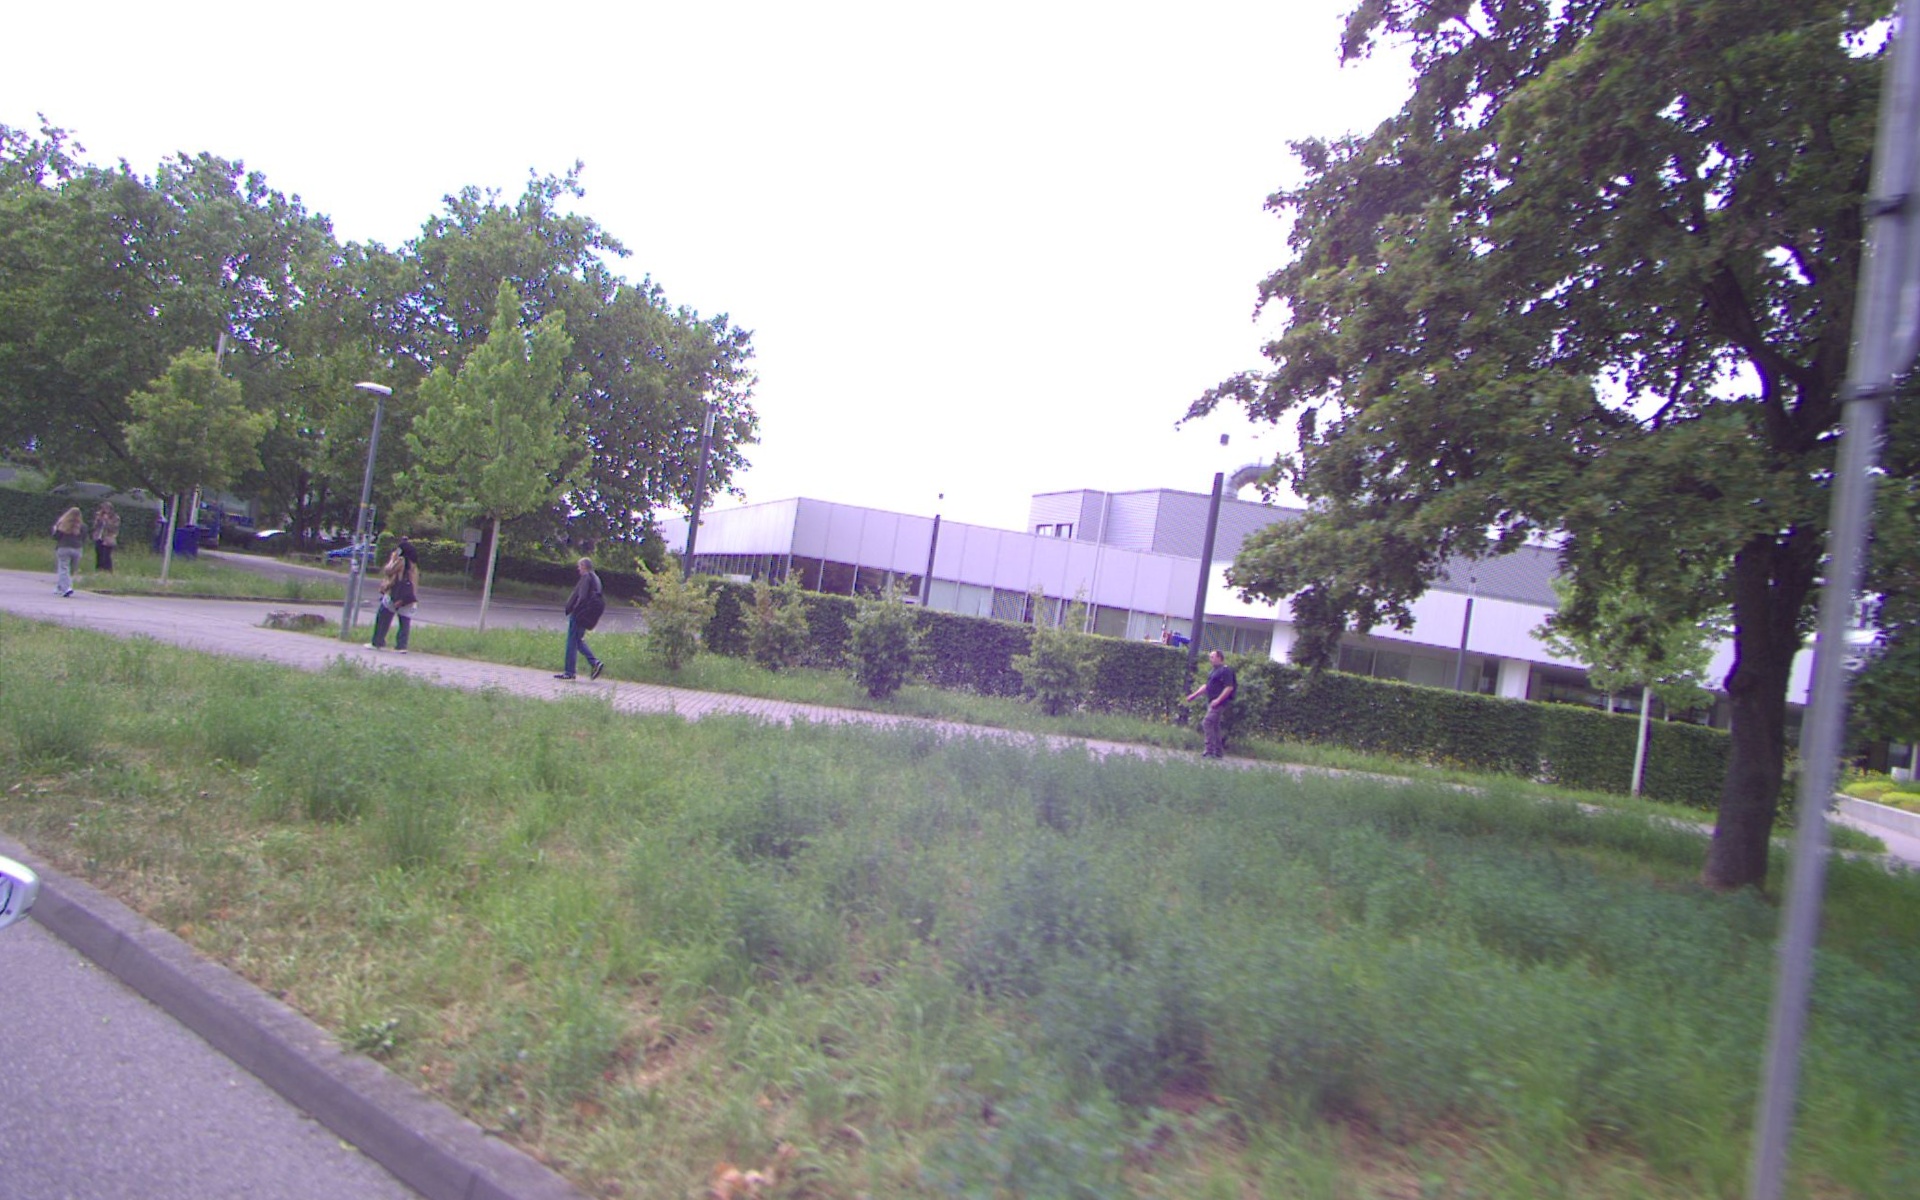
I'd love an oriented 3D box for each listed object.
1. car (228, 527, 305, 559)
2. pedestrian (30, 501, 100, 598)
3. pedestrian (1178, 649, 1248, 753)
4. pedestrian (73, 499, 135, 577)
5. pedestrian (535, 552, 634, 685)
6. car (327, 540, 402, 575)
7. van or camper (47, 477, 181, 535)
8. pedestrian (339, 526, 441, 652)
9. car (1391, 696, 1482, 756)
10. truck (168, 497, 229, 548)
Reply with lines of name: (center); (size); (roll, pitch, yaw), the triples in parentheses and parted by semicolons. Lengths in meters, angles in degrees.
car: (-48.030, -3.949, 69.763); (1.742, 1.518, 3.929); (9, 0, 31)
pedestrian: (-16.391, -0.932, 18.444); (0.772, 1.615, 0.813); (8, 1, -41)
pedestrian: (3.918, 1.551, 15.644); (0.685, 1.468, 0.835); (9, 0, 2)
pedestrian: (-20.312, -1.472, 23.895); (0.768, 1.714, 0.817); (9, 0, -28)
pedestrian: (-5.349, 0.268, 14.348); (0.810, 1.743, 0.775); (9, 0, 36)
car: (-38.076, -2.725, 64.381); (3.901, 1.518, 1.755); (9, 0, -35)
van or camper: (-41.808, -4.623, 49.888); (4.639, 1.937, 1.758); (9, 0, -29)
pedestrian: (-8.578, -0.144, 15.160); (0.807, 1.743, 0.777); (9, 0, 14)
car: (15.287, 4.001, 32.405); (1.481, 1.439, 3.107); (9, -1, 5)
truck: (-43.265, -4.442, 57.082); (2.319, 2.322, 5.829); (10, -1, -40)
